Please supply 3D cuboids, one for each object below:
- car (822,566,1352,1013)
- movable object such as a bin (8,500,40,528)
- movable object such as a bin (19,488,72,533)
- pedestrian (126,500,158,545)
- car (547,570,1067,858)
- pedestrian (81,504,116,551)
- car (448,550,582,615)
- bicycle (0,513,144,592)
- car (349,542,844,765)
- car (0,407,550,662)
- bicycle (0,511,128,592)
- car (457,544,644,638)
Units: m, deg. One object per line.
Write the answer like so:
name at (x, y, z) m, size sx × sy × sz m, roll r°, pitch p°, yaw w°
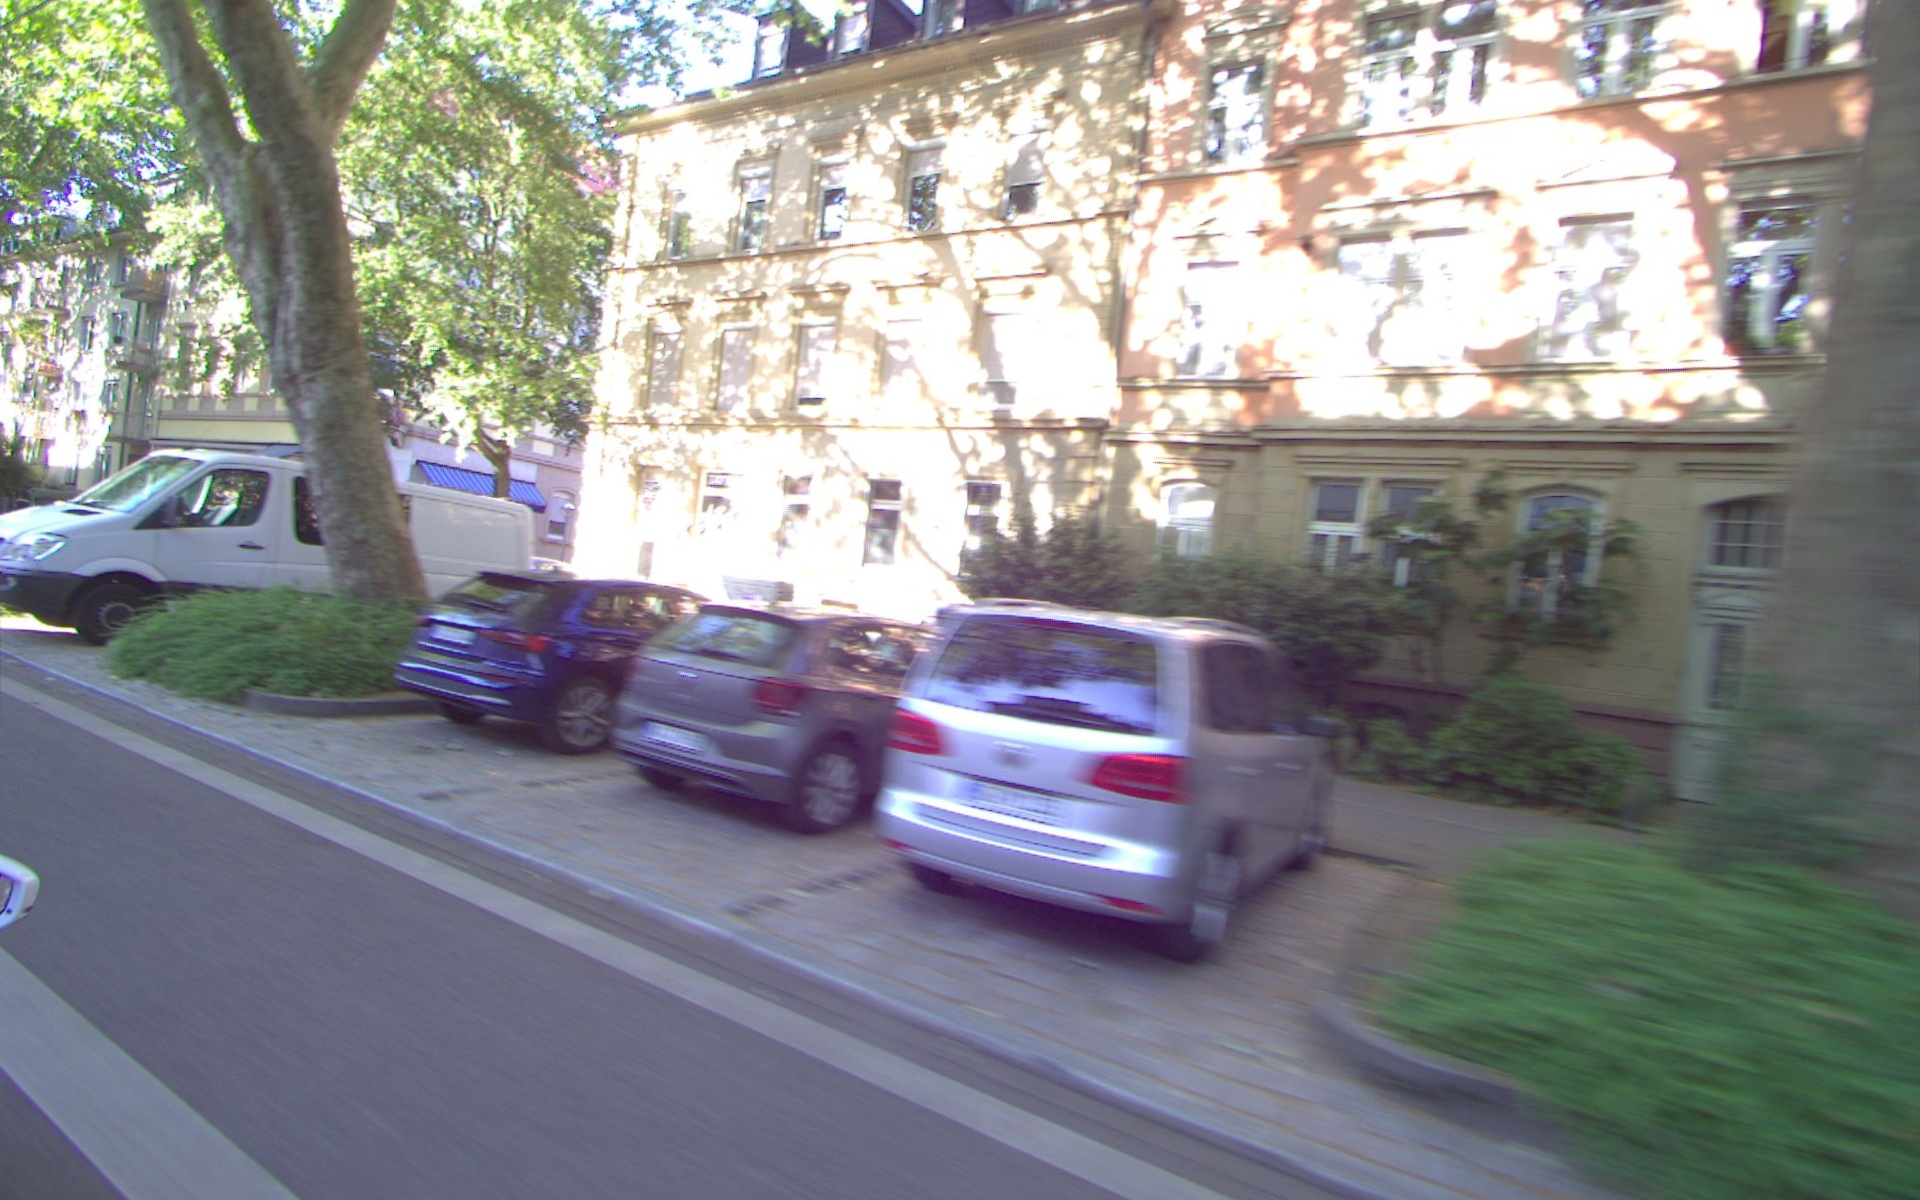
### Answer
car at (1.125, 0.880, 6.211) m, size 1.765 × 1.676 × 3.962 m, roll 6°, pitch -1°, yaw 29°
movable object such as a bin at (-35.584, -3.253, 38.252) m, size 0.458 × 0.955 × 0.748 m, roll 7°, pitch 2°, yaw 32°
movable object such as a bin at (-33.970, -3.326, 37.370) m, size 1.099 × 1.456 × 1.167 m, roll 7°, pitch 2°, yaw 32°
pedestrian at (-26.178, -2.469, 32.200) m, size 0.480 × 1.344 × 0.683 m, roll 7°, pitch 1°, yaw -21°
car at (-0.884, 0.773, 7.866) m, size 1.766 × 1.496 × 3.959 m, roll 7°, pitch 0°, yaw 31°
pedestrian at (-26.782, -2.245, 31.273) m, size 0.480 × 1.392 × 1.049 m, roll 7°, pitch 0°, yaw -27°
car at (-14.872, -0.543, 33.794) m, size 1.663 × 1.636 × 3.682 m, roll 9°, pitch 1°, yaw 31°
bicycle at (-16.615, -0.861, 18.758) m, size 0.407 × 1.193 × 2.040 m, roll 6°, pitch -1°, yaw 40°
car at (-3.074, 0.498, 9.390) m, size 1.766 × 1.478 × 4.060 m, roll 7°, pitch 0°, yaw 30°
car at (-8.536, -0.587, 12.690) m, size 1.973 × 2.310 × 5.996 m, roll 8°, pitch 0°, yaw 33°
bicycle at (-16.002, -0.856, 17.652) m, size 0.407 × 1.193 × 2.040 m, roll 6°, pitch -1°, yaw 40°
car at (-8.708, -0.197, 21.371) m, size 3.509 × 1.472 × 1.737 m, roll 7°, pitch -1°, yaw 29°
